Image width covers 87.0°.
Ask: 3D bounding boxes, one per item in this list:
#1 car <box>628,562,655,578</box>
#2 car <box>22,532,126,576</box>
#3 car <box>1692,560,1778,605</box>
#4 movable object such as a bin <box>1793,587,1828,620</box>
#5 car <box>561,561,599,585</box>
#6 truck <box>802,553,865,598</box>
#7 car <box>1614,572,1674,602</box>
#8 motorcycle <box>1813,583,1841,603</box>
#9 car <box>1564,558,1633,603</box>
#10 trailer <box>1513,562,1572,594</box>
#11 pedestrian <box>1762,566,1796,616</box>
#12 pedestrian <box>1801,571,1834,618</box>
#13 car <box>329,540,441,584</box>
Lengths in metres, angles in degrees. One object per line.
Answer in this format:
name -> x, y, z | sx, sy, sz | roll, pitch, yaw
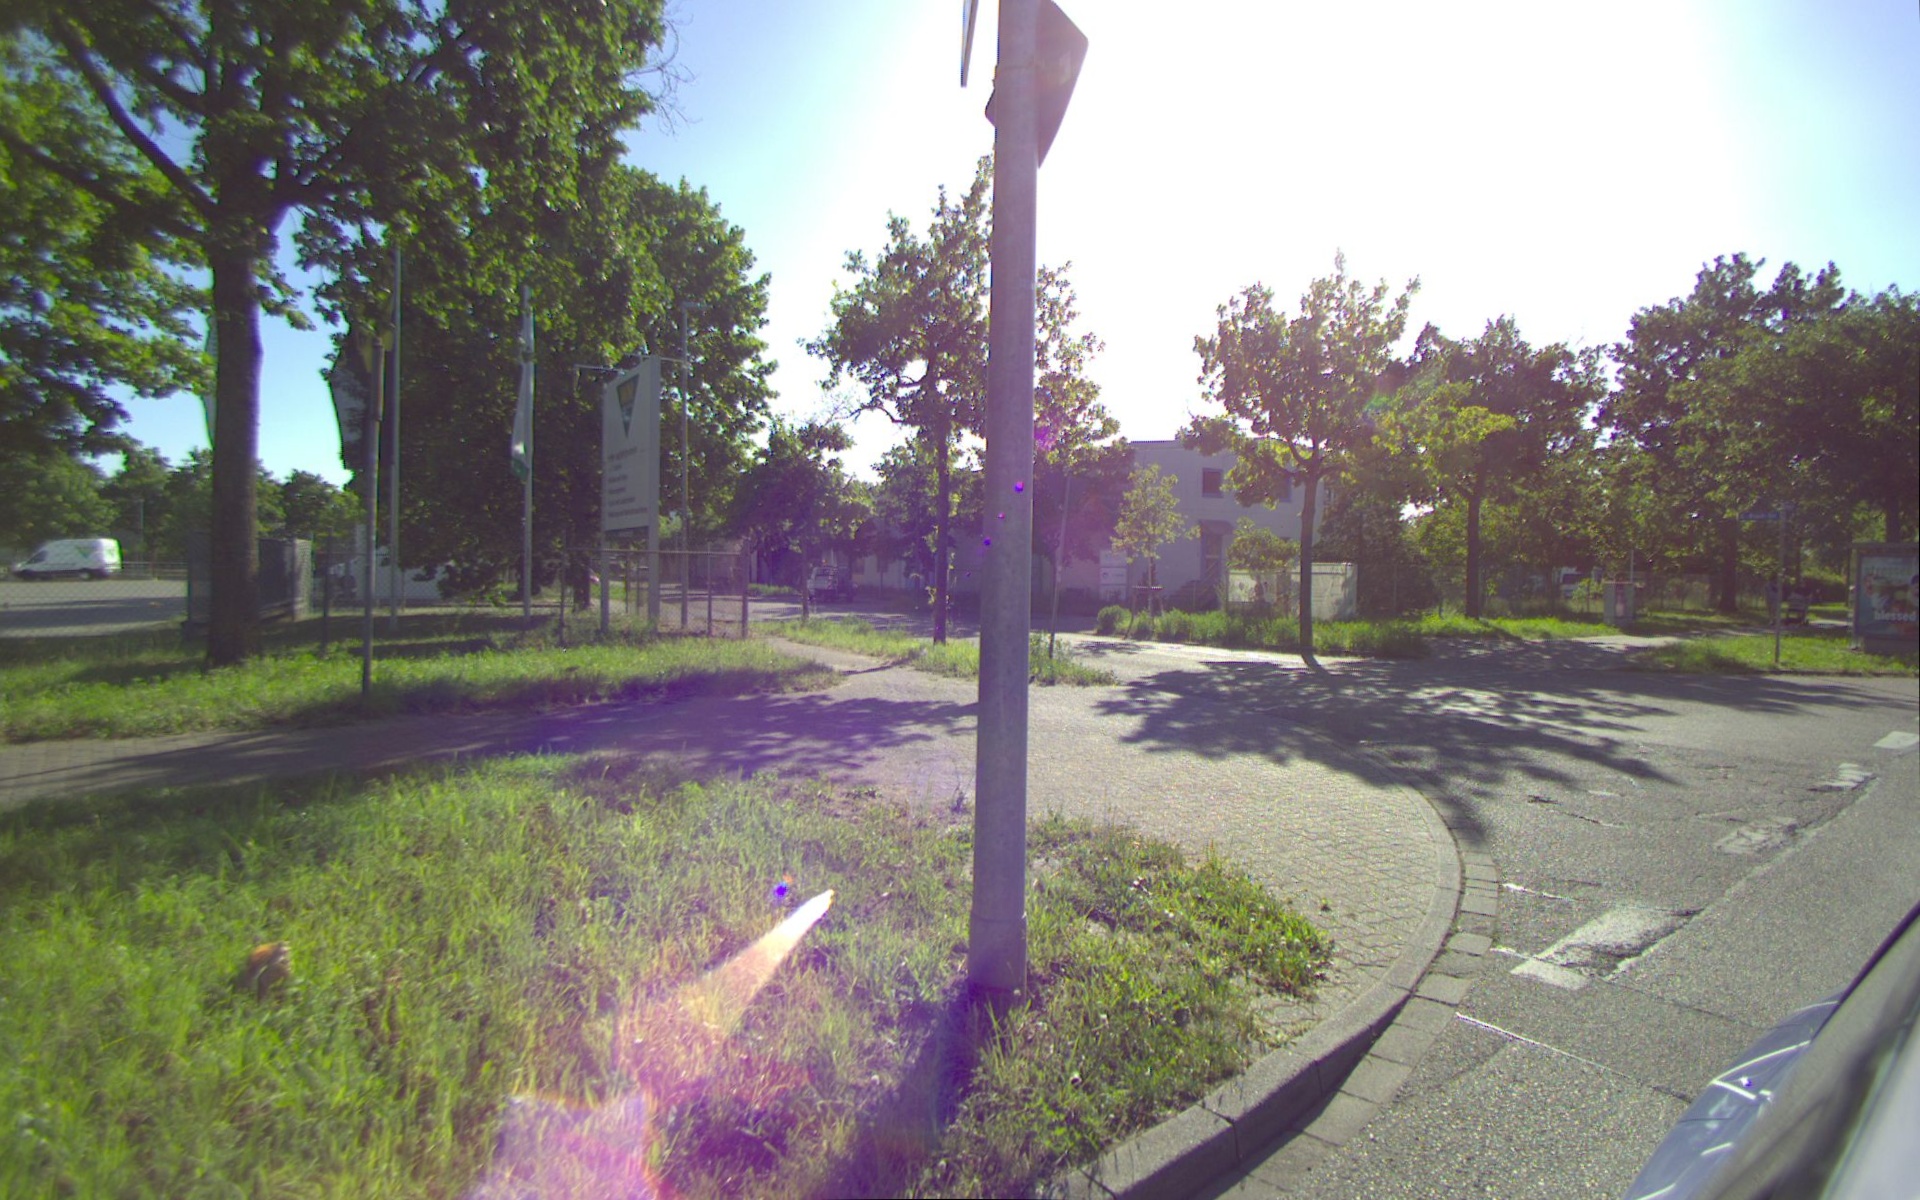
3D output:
car -> -32.114, -3.008, 101.976 | 1.901, 1.497, 4.523 | 0, 2, -27
car -> -58.606, -3.019, 67.008 | 4.749, 2.731, 2.172 | 1, 1, -11
car -> 50.990, -1.146, 66.575 | 5.848, 2.599, 2.094 | 3, -1, -27
movable object such as a bin -> 29.764, 0.101, 35.414 | 0.852, 1.094, 0.728 | 0, 4, -39
car -> -25.435, -1.810, 67.682 | 1.901, 1.497, 4.523 | 0, 2, -27
truck -> -6.604, -1.315, 52.415 | 1.958, 2.138, 5.166 | -2, 3, -21
car -> 41.143, -0.791, 60.874 | 3.531, 1.684, 2.011 | 0, 2, -38
motorcycle -> 60.548, -0.488, 70.679 | 2.358, 1.245, 0.666 | -5, 4, -27
car -> 39.972, -1.235, 63.315 | 4.763, 2.675, 2.166 | 0, 2, -38
trailer -> 44.808, -1.701, 77.887 | 3.711, 2.336, 2.200 | 0, 2, -26
pedestrian -> 29.259, -0.332, 36.161 | 0.852, 1.777, 0.727 | 0, 2, -39
pedestrian -> 30.448, -0.190, 35.937 | 0.852, 1.623, 0.727 | 0, 2, -39
car -> -27.951, -1.828, 49.385 | 4.638, 2.011, 2.004 | 0, 2, -27
